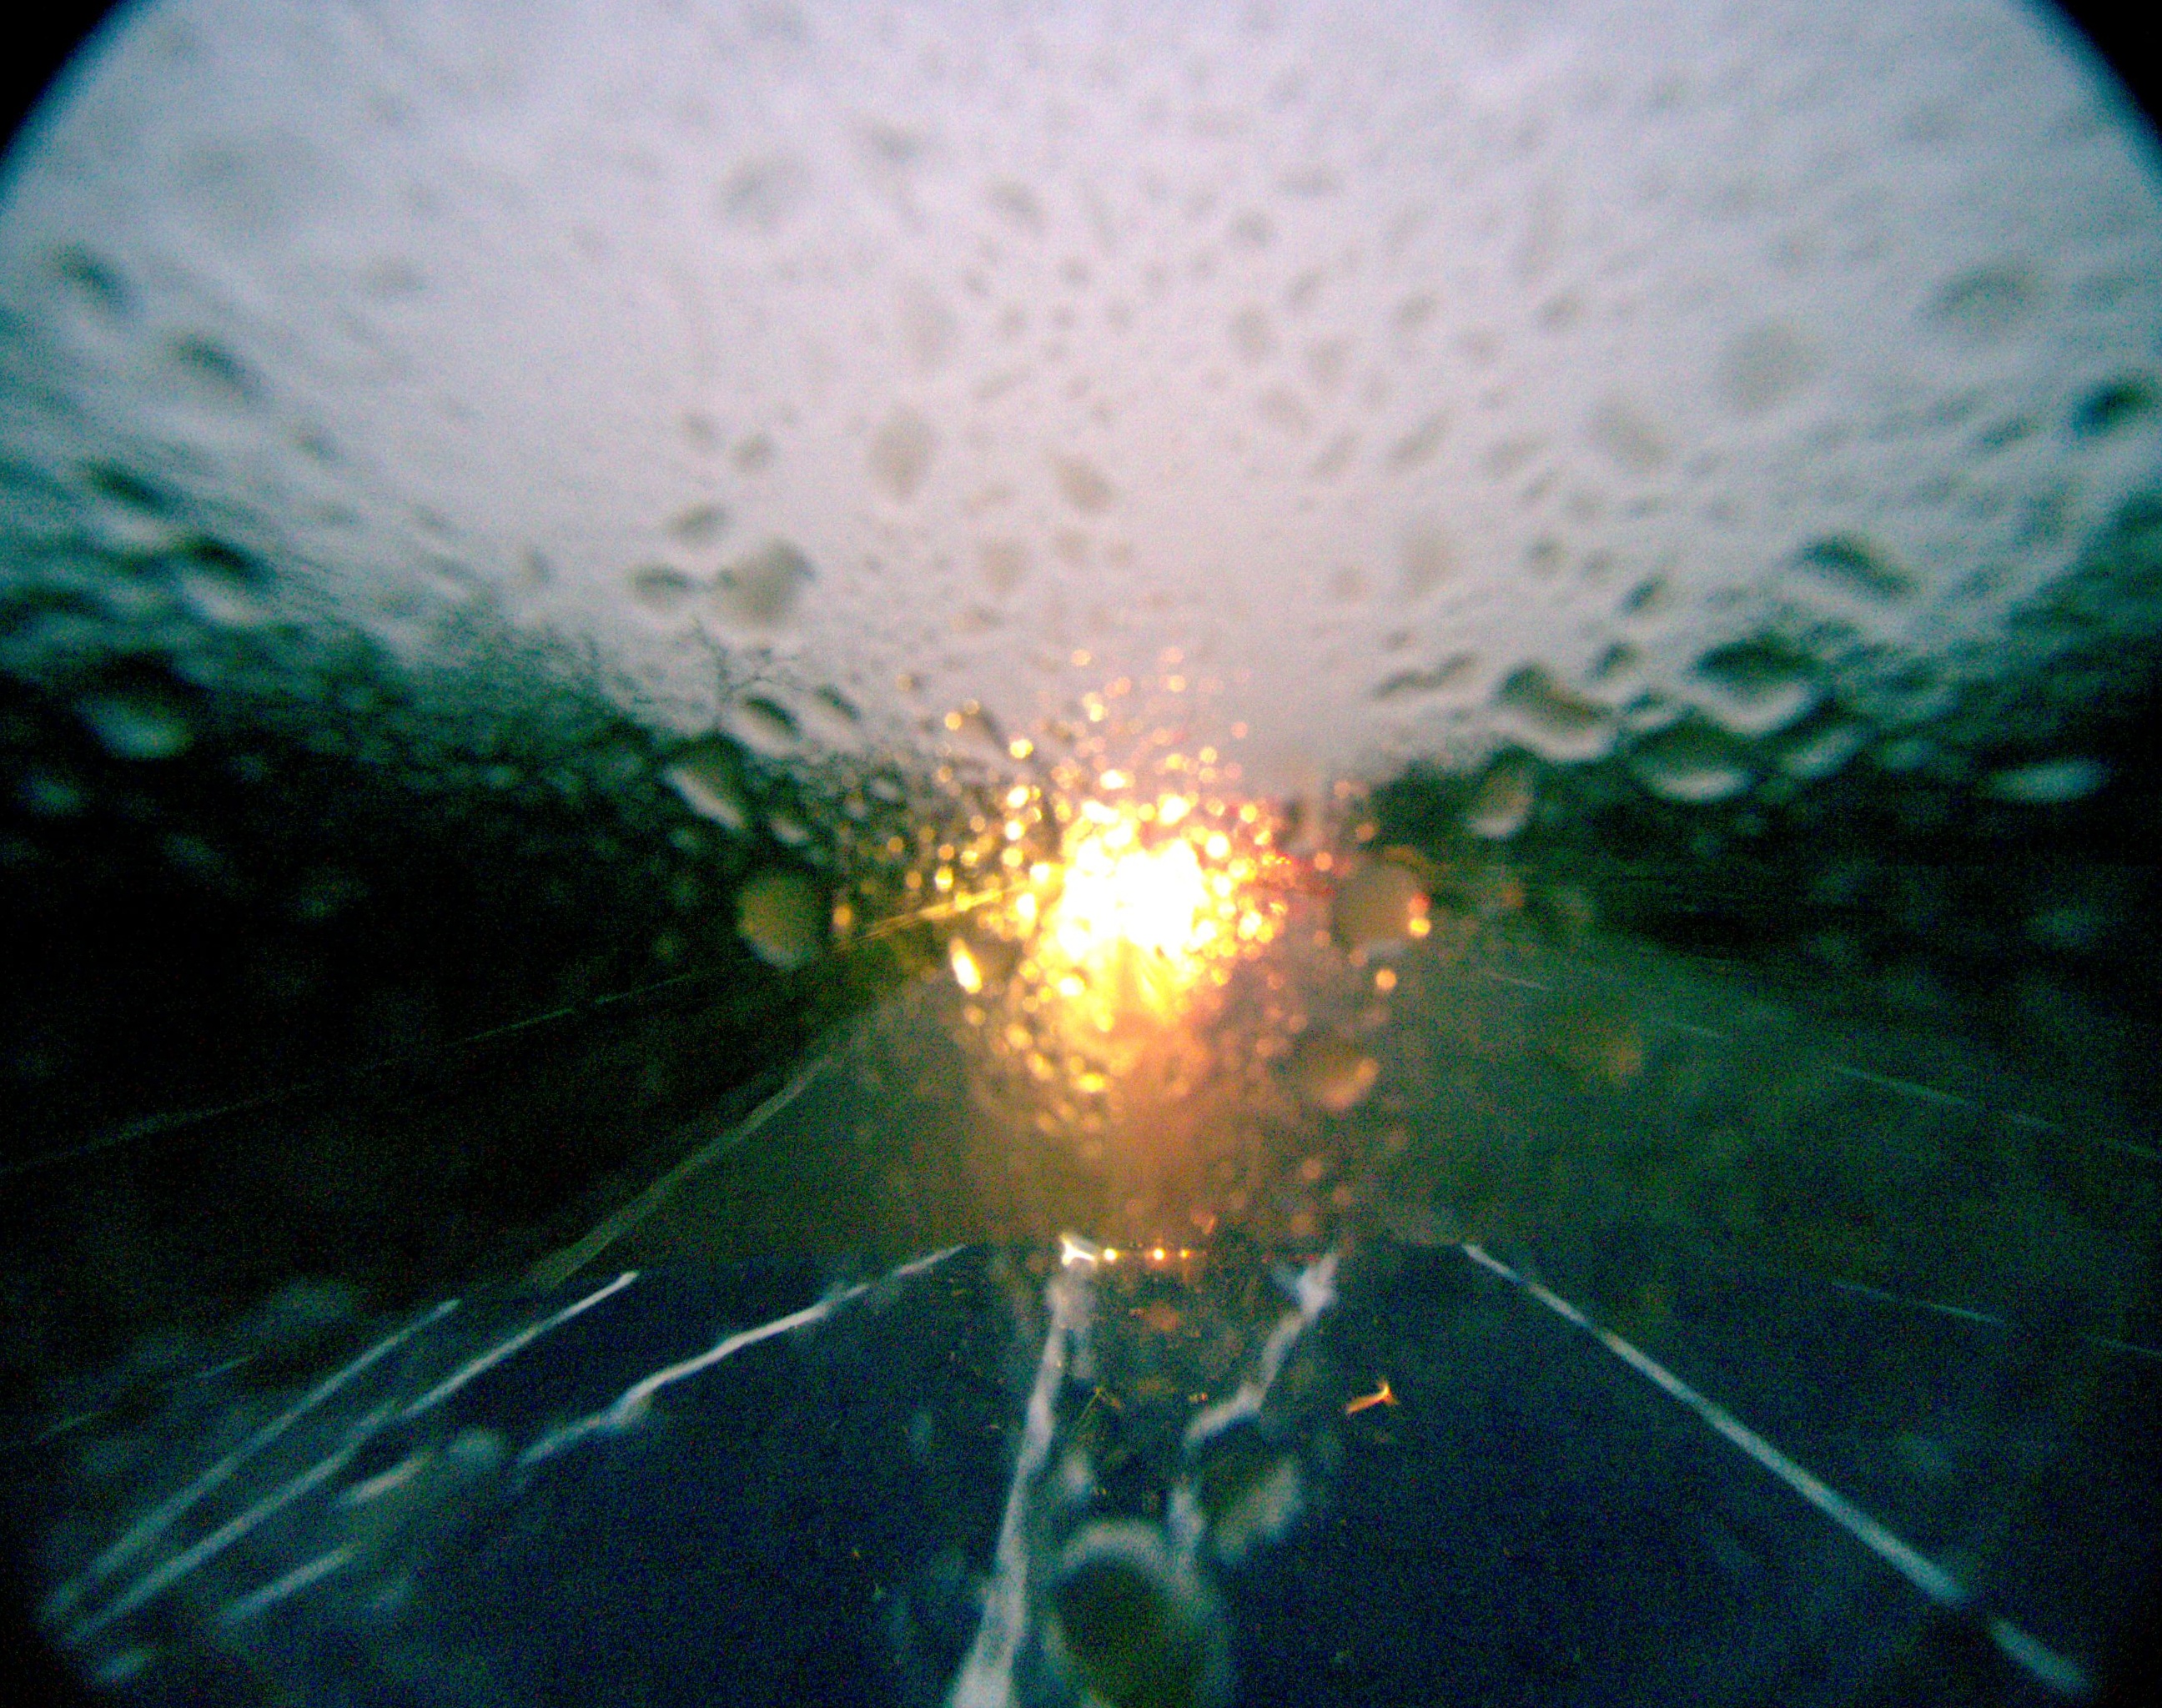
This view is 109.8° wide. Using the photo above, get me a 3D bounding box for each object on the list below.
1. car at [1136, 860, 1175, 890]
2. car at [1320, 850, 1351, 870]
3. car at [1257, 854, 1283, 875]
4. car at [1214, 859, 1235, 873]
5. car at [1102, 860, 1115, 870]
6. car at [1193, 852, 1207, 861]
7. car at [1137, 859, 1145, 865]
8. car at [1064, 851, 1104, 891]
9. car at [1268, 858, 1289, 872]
[{"bbox_3d":[4.072,1.131,42.014,1.654,1.502,3.874,-2,-1,-1],"label":"car"},{"bbox_3d":[26.449,0.633,79.032,1.998,2.001,4.001,-1,-1,3],"label":"car"},{"bbox_3d":[20.428,1.071,82.264,1.998,2.002,4.000,-3,1,3],"label":"car"},{"bbox_3d":[17.610,1.475,93.269,1.879,1.673,4.382,0,-1,2],"label":"car"},{"bbox_3d":[3.492,1.425,96.721,1.482,1.198,3.350,-3,-1,3],"label":"car"},{"bbox_3d":[19.839,0.386,126.771,1.782,1.368,3.842,-3,1,2],"label":"car"},{"bbox_3d":[12.250,1.664,155.809,1.482,1.198,3.350,-3,-1,4],"label":"car"},{"bbox_3d":[0.229,0.897,40.529,1.998,2.002,3.964,-1,0,2],"label":"car"},{"bbox_3d":[24.550,1.389,94.564,1.687,1.626,4.204,-1,1,2],"label":"car"}]
